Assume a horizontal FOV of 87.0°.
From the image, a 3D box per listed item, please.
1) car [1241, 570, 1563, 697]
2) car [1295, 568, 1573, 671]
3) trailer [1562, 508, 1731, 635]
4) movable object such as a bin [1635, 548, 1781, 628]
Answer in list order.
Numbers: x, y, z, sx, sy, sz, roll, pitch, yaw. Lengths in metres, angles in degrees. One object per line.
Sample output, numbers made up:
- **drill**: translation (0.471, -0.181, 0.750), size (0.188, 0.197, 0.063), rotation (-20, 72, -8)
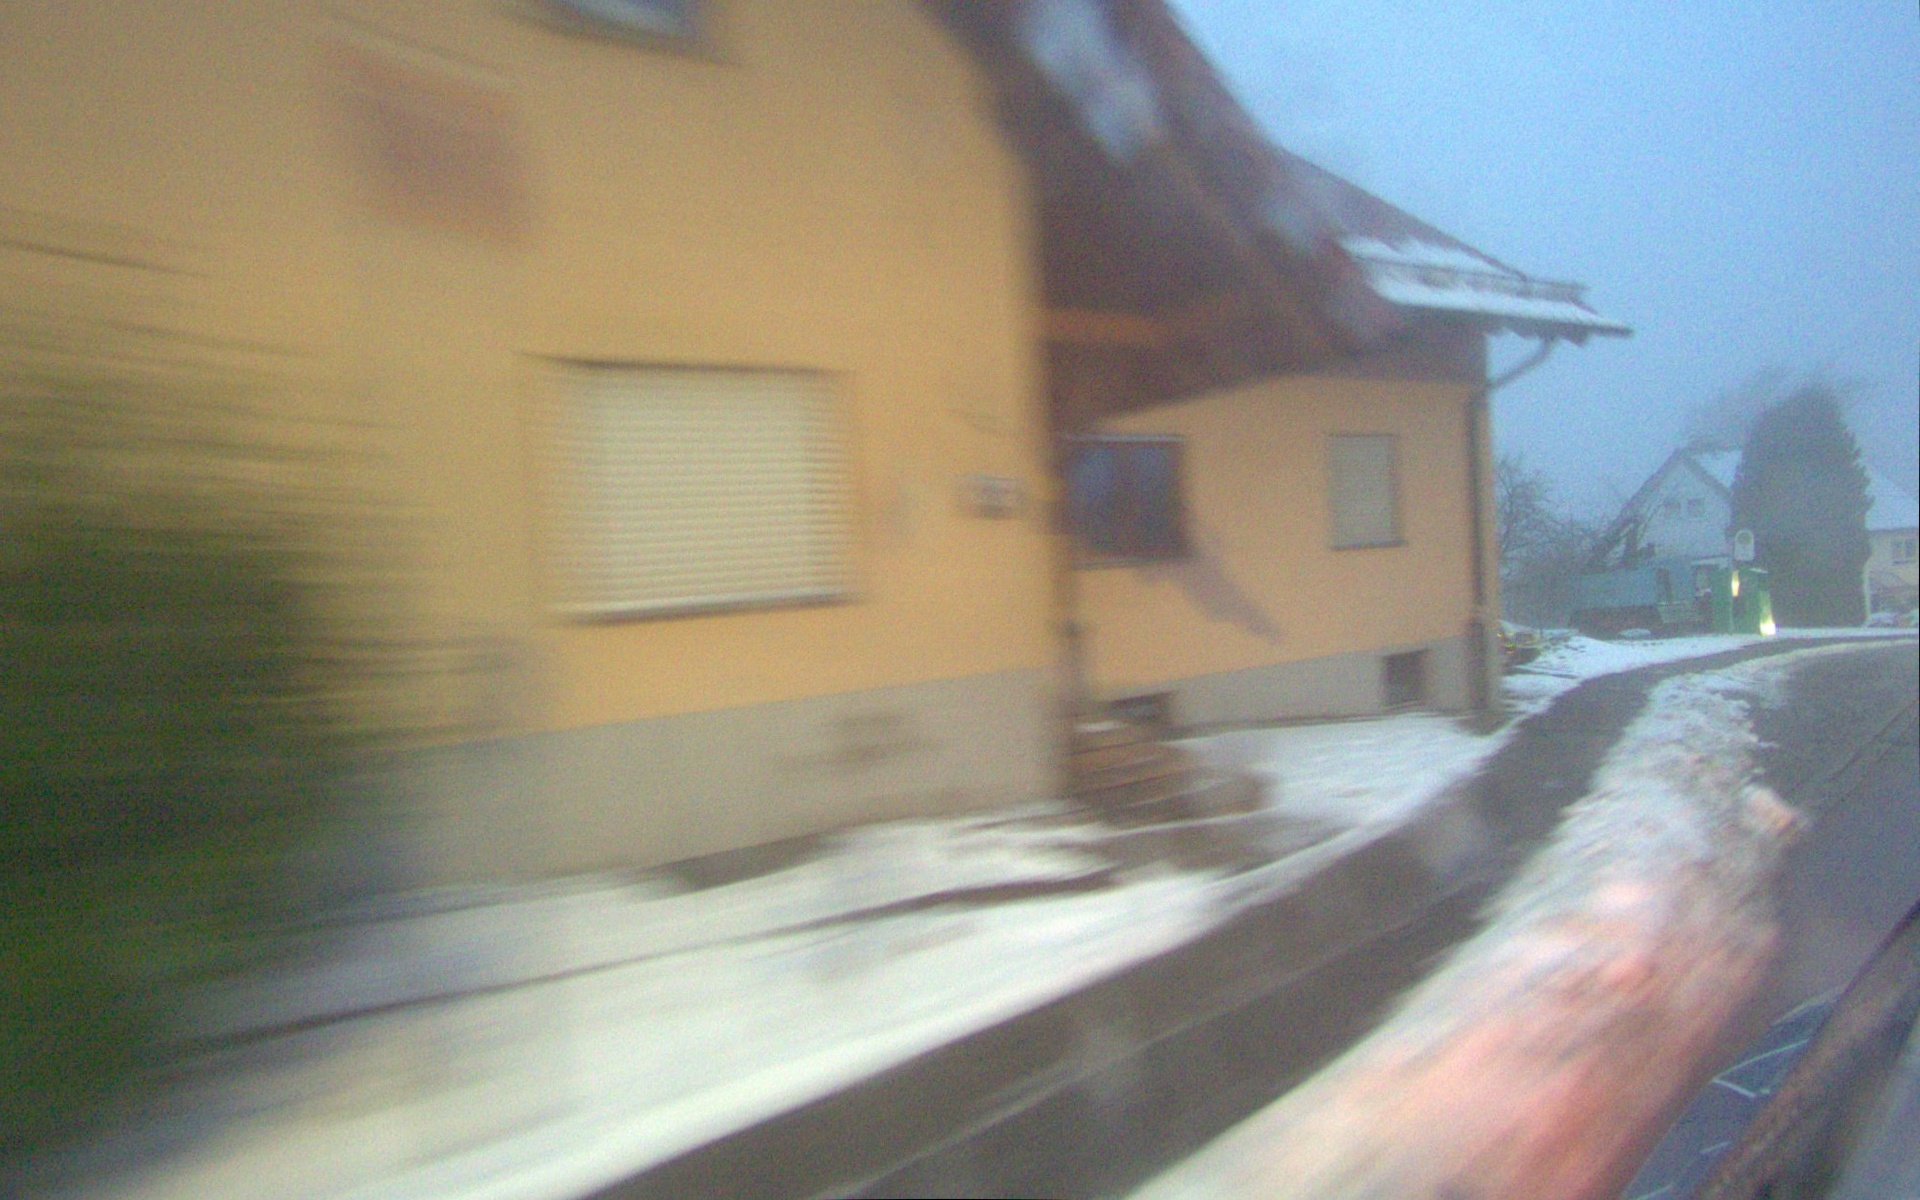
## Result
- **car**: translation (6.579, 0.372, 15.531), size (1.908, 1.578, 4.176), rotation (-2, 3, -32)
- **car**: translation (8.456, 0.246, 18.485), size (1.959, 1.578, 4.264), rotation (0, 3, -27)
- **trailer**: translation (21.262, -0.891, 31.278), size (4.969, 3.605, 2.883), rotation (-2, 1, -37)
- **movable object such as a bin**: translation (25.007, -0.451, 33.835), size (4.427, 2.499, 2.397), rotation (-2, 1, -31)
